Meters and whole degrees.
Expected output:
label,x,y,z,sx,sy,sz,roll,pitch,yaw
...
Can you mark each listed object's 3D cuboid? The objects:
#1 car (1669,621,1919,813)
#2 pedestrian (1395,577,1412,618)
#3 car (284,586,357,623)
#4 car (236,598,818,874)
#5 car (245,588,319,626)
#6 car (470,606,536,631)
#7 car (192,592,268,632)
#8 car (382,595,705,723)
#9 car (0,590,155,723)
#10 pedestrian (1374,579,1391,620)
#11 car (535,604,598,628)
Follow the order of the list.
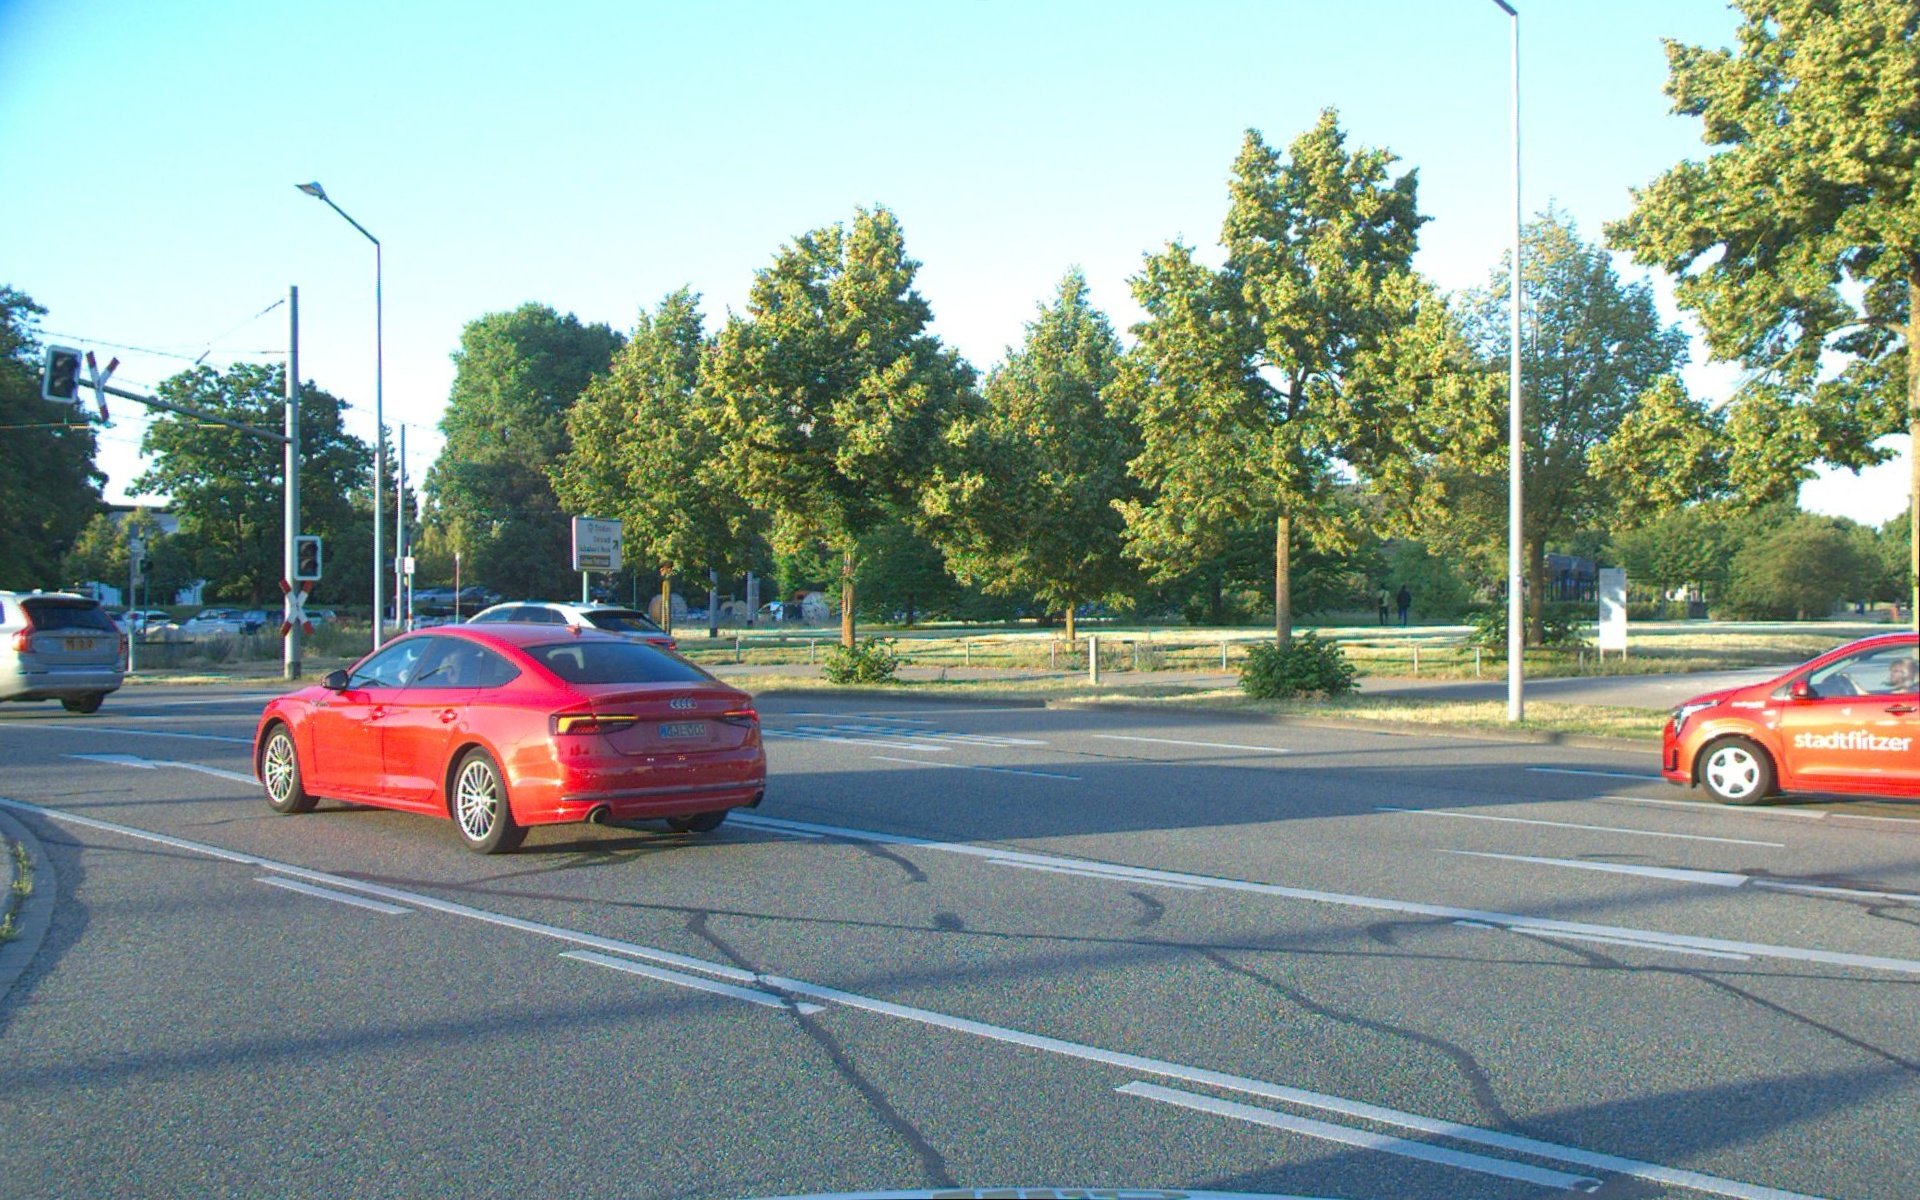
label,x,y,z,sx,sy,sz,roll,pitch,yaw
car,7.968,0.936,13.746,3.559,1.509,1.720,0,-1,36
pedestrian,18.152,-0.095,67.658,0.519,1.655,0.618,0,0,34
car,-37.195,0.250,96.225,3.914,2.135,1.995,0,0,31
car,-3.154,0.757,11.458,4.502,1.486,1.833,1,1,44
car,-38.349,0.392,93.536,3.914,2.135,1.995,0,0,31
car,-29.729,1.215,107.492,3.913,1.578,1.996,0,0,30
car,-40.145,0.647,90.968,3.914,2.135,1.995,0,0,31
car,-6.401,0.820,25.267,4.833,1.740,1.910,1,1,30
car,-14.273,0.776,24.064,4.805,1.785,1.922,0,-1,23
pedestrian,17.322,-0.012,67.788,0.522,1.655,0.578,0,0,37
car,-26.998,1.098,113.465,3.913,1.578,1.996,0,0,30
